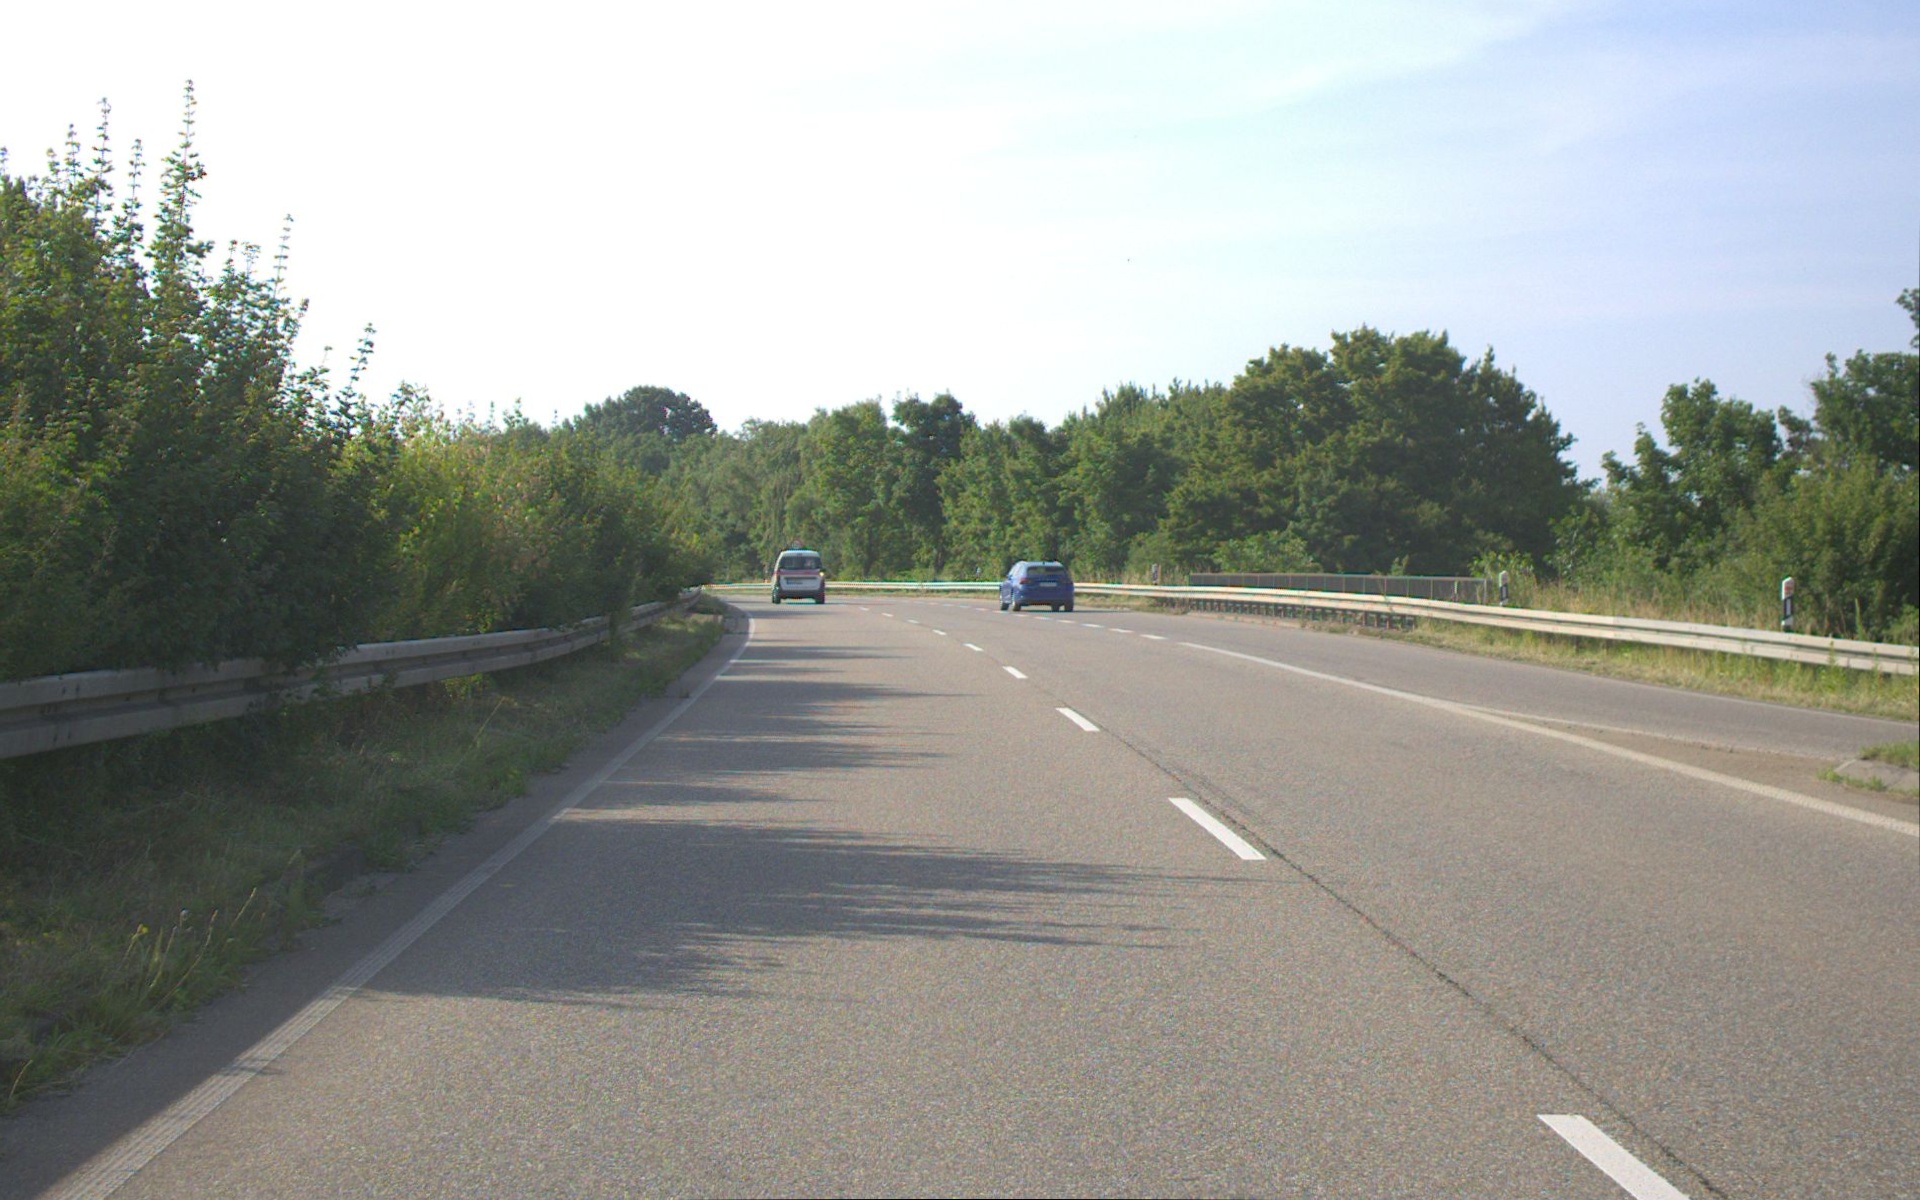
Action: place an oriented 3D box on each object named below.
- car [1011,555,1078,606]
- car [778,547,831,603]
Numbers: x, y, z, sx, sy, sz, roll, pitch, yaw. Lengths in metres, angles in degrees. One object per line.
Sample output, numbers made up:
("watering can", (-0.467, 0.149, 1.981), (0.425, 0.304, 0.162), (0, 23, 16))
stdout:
("car", (2.457, -0.545, 100.561), (1.779, 1.447, 4.000), (0, 0, -1))
("car", (-5.284, -0.850, 117.322), (1.765, 1.875, 4.000), (0, 0, -2))
